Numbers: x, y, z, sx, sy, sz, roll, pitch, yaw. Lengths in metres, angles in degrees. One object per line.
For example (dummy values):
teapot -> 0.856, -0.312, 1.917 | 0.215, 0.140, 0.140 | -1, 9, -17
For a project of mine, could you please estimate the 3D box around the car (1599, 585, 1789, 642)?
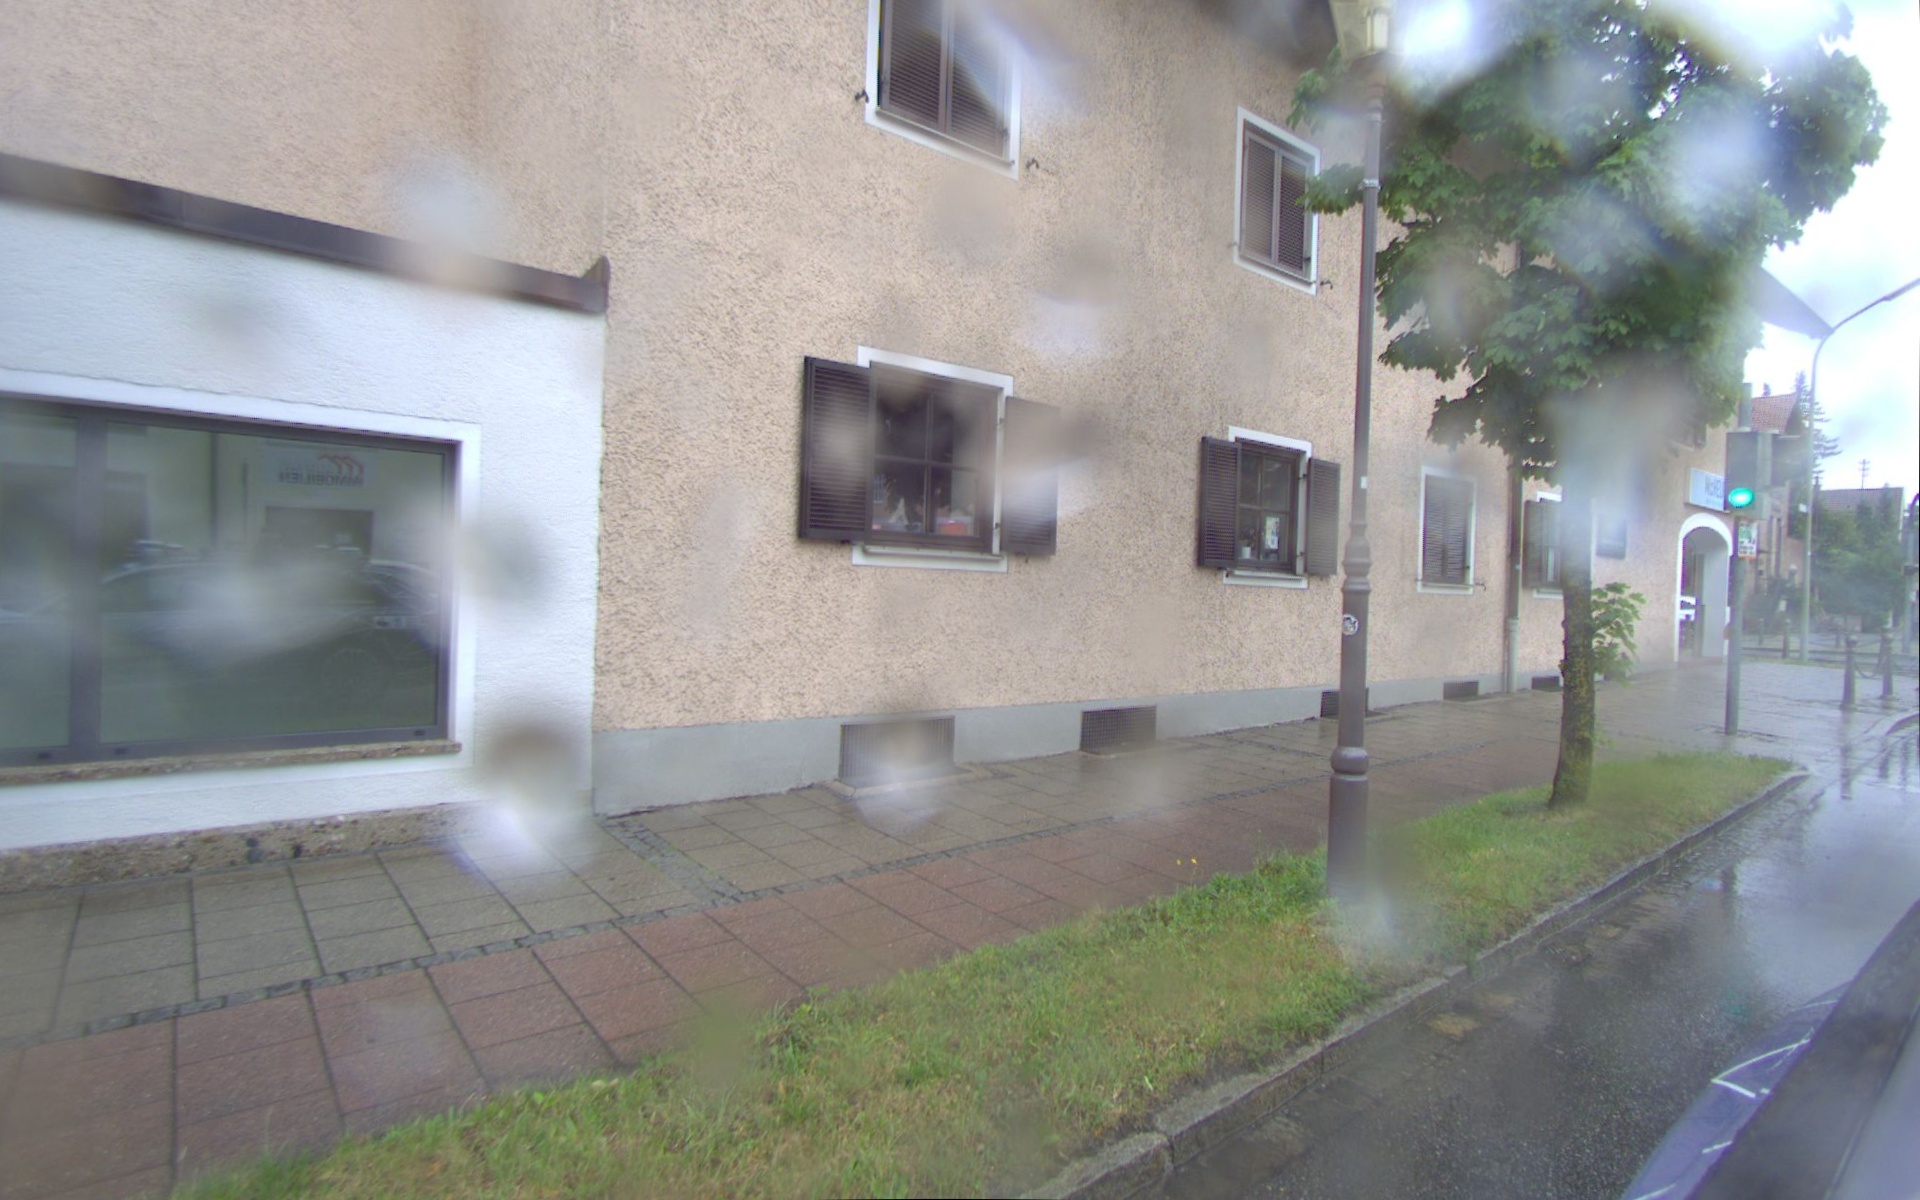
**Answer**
car -> 22.967, 0.360, 31.806 | 4.598, 1.517, 1.709 | 4, 2, 45
